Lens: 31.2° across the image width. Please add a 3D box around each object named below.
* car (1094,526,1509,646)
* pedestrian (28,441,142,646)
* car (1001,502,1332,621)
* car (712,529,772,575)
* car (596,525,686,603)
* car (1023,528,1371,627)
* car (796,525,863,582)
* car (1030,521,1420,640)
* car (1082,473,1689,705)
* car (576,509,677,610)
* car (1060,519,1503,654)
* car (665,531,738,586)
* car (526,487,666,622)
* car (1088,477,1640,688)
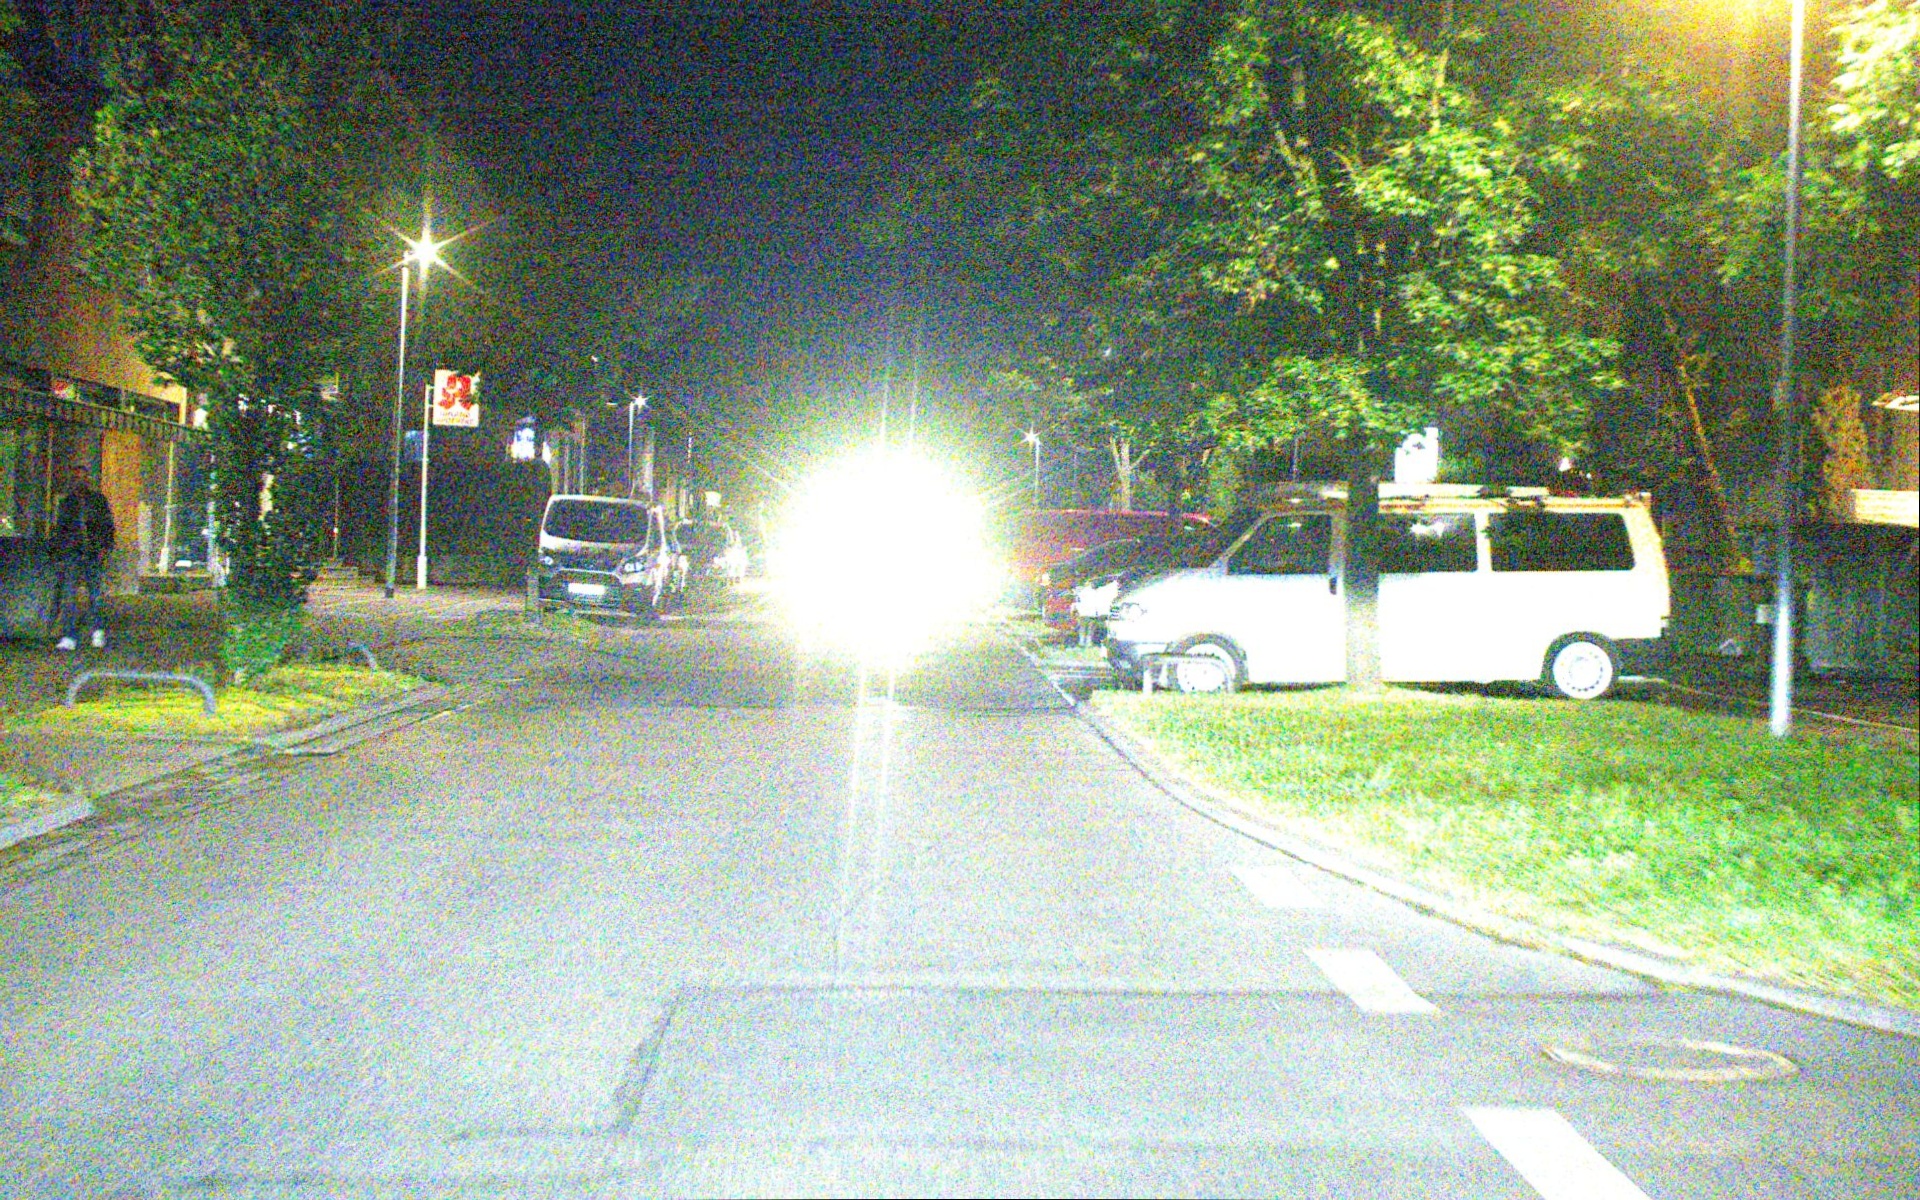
[{"bbox_3d":[4.418,-0.206,45.070,5.182,1.519,2.102,0,1,-2],"label":"car"},{"bbox_3d":[-8.892,-0.578,34.965,0.785,2.007,1.204,3,1,-1],"label":"pedestrian"},{"bbox_3d":[3.378,-0.631,55.760,5.184,1.880,2.101,0,1,9],"label":"car"},{"bbox_3d":[-6.540,-1.445,103.399,1.683,1.326,3.600,1,1,-2],"label":"car"},{"bbox_3d":[-6.171,-0.718,66.691,1.534,1.446,3.119,1,1,-2],"label":"car"},{"bbox_3d":[3.615,-0.364,53.132,5.182,1.464,2.102,0,1,-2],"label":"car"},{"bbox_3d":[-3.813,-1.378,100.487,1.927,1.643,3.822,0,1,-2],"label":"car"},{"bbox_3d":[3.618,-0.289,47.616,5.182,1.588,2.102,0,1,-2],"label":"car"},{"bbox_3d":[3.763,-0.124,31.079,5.182,2.007,2.102,0,1,-2],"label":"car"},{"bbox_3d":[-5.952,-0.744,61.659,1.534,1.682,3.212,3,1,-2],"label":"car"},{"bbox_3d":[3.879,-0.182,42.126,5.182,1.588,2.102,0,1,-2],"label":"car"},{"bbox_3d":[-6.561,-1.075,87.551,1.683,1.326,3.600,1,1,-2],"label":"car"},{"bbox_3d":[-5.754,-0.742,54.777,1.824,1.980,4.466,3,1,-2],"label":"car"},{"bbox_3d":[3.935,-0.194,34.142,5.182,2.007,2.102,0,1,-2],"label":"car"}]
